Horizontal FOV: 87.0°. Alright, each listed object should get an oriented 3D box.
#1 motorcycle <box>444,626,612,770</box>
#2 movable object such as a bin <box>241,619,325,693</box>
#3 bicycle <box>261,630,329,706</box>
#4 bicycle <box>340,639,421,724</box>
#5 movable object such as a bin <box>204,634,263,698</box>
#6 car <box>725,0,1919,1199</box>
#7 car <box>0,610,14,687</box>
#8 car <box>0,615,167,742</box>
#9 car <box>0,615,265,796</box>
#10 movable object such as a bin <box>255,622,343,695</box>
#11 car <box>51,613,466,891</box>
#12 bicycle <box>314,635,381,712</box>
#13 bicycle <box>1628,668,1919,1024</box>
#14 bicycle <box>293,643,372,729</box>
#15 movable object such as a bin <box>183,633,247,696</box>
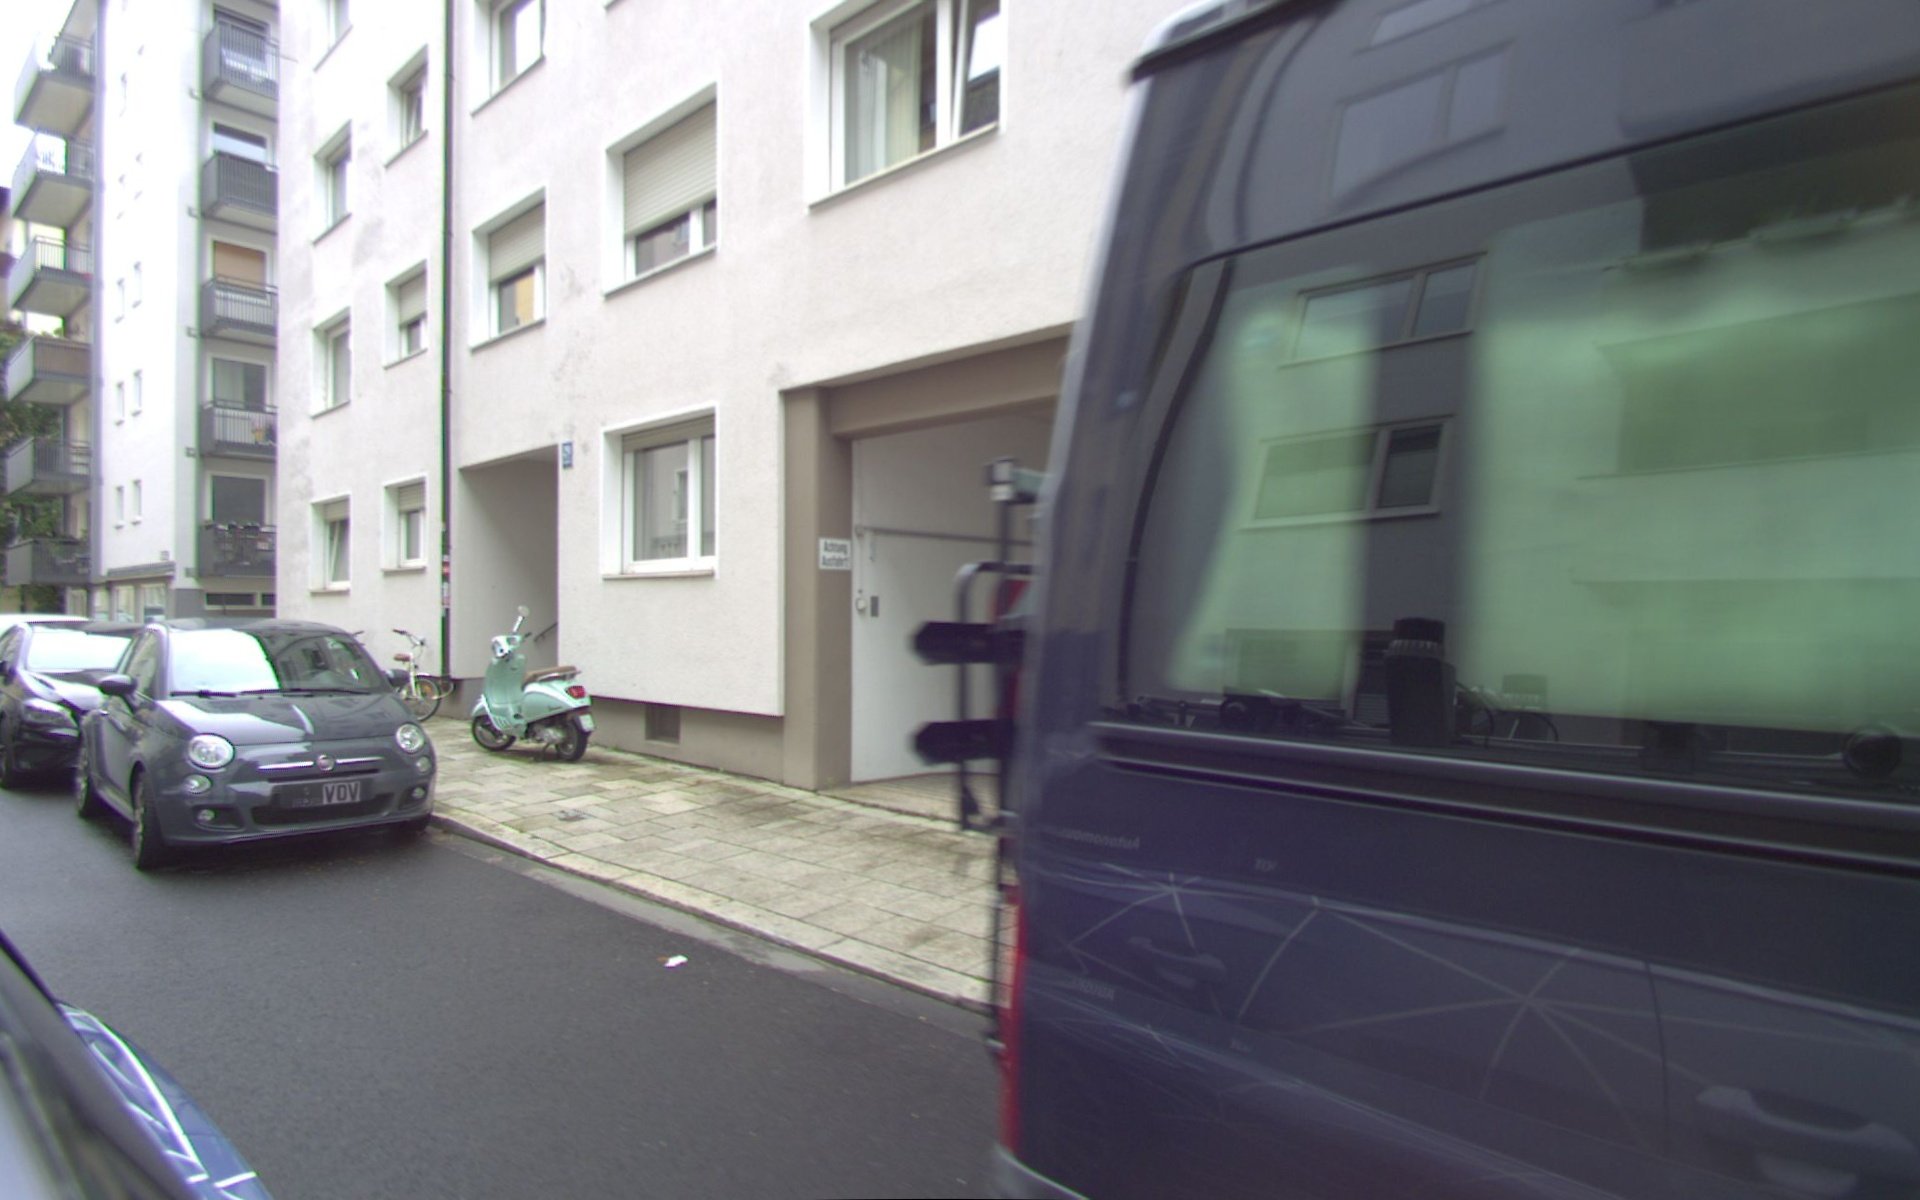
[{"bbox_3d":[-4.074,0.863,9.488,1.855,1.213,0.594,-1,-1,36],"label":"motorcycle"},{"bbox_3d":[-12.970,1.046,19.386,1.103,1.364,1.099,-1,-1,42],"label":"movable object such as a bin"},{"bbox_3d":[-10.661,1.065,16.206,1.681,1.147,0.338,-1,-1,37],"label":"bicycle"},{"bbox_3d":[-7.529,1.027,13.124,1.574,1.024,0.394,-1,-2,41],"label":"bicycle"},{"bbox_3d":[-12.765,1.145,17.780,0.603,1.084,0.684,-1,-1,35],"label":"movable object such as a bin"},{"bbox_3d":[2.330,0.230,0.480,5.388,2.296,1.997,-1,-3,42],"label":"car"},{"bbox_3d":[-22.337,1.032,22.107,4.537,1.619,1.947,-1,-1,41],"label":"car"},{"bbox_3d":[-12.415,0.928,13.571,4.805,1.448,1.892,-1,-1,41],"label":"car"},{"bbox_3d":[-8.694,0.872,10.086,4.222,1.427,1.783,-1,-1,39],"label":"car"},{"bbox_3d":[-12.158,1.041,18.618,1.096,1.272,1.108,-1,-1,42],"label":"movable object such as a bin"},{"bbox_3d":[-5.131,0.857,7.211,3.742,1.457,1.594,-1,-3,43],"label":"car"},{"bbox_3d":[-8.637,1.013,14.254,1.441,1.024,0.375,-1,-2,42],"label":"bicycle"},{"bbox_3d":[3.377,0.823,3.364,1.870,1.106,0.458,-1,-1,43],"label":"bicycle"},{"bbox_3d":[-8.114,1.077,13.062,1.623,1.024,0.383,-1,-2,41],"label":"bicycle"},{"bbox_3d":[-13.316,1.142,18.100,0.634,1.084,0.761,-1,-1,35],"label":"movable object such as a bin"}]
